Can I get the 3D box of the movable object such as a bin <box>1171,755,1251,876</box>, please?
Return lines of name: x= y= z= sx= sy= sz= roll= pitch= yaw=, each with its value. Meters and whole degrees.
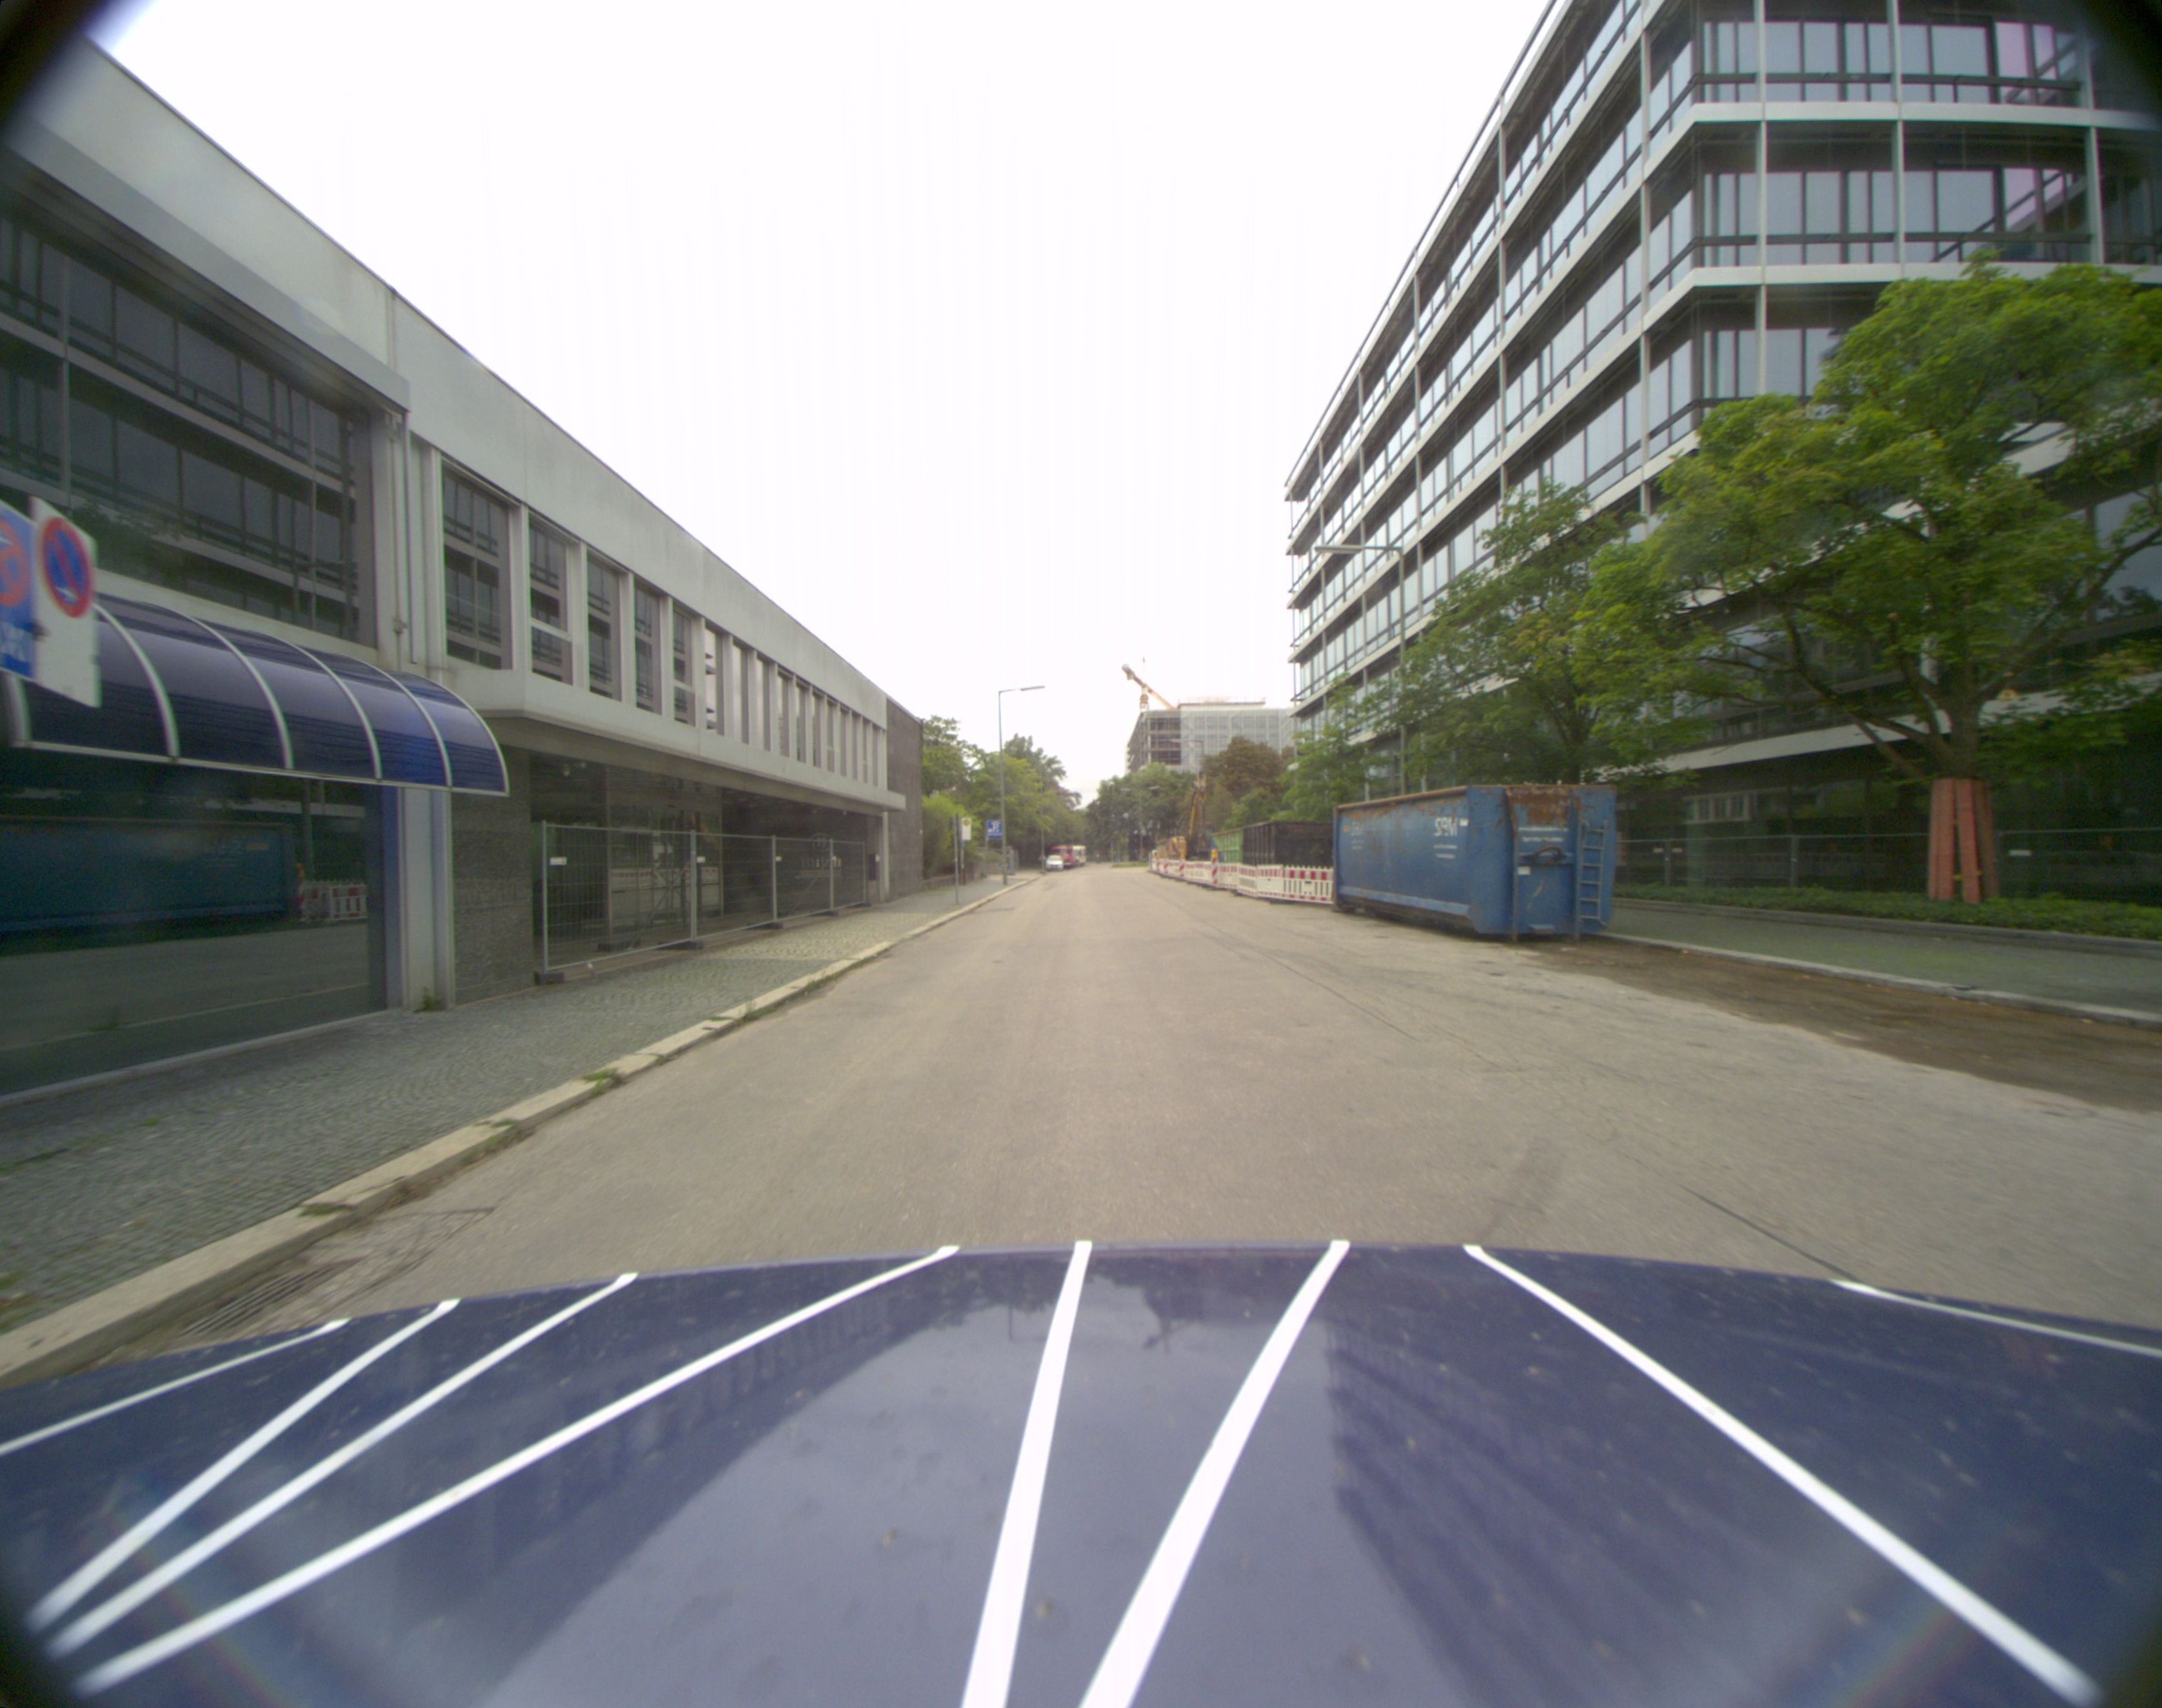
movable object such as a bin: x=7.757 y=-2.150 z=47.169 sx=2.911 sy=6.527 sz=11.781 roll=-1 pitch=1 yaw=0

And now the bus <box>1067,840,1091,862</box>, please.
bus: x=-0.235 y=-0.397 z=95.794 sx=2.076 sy=2.714 sz=5.870 roll=-1 pitch=1 yaw=10

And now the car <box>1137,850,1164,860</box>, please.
car: x=10.929 y=0.167 z=119.853 sx=3.891 sy=1.564 sz=1.786 roll=-1 pitch=2 yaw=-22

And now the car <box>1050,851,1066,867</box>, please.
car: x=-2.299 y=0.478 z=75.228 sx=1.536 sy=1.483 sz=4.059 roll=-1 pitch=1 yaw=-2

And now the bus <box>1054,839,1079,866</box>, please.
bus: x=-1.506 y=-0.217 z=81.906 sx=2.077 sy=2.789 sz=6.274 roll=-1 pitch=1 yaw=5

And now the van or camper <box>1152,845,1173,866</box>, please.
van or camper: x=8.395 y=0.133 z=78.474 sx=1.993 sy=2.022 sz=5.588 roll=0 pitch=0 yaw=4
